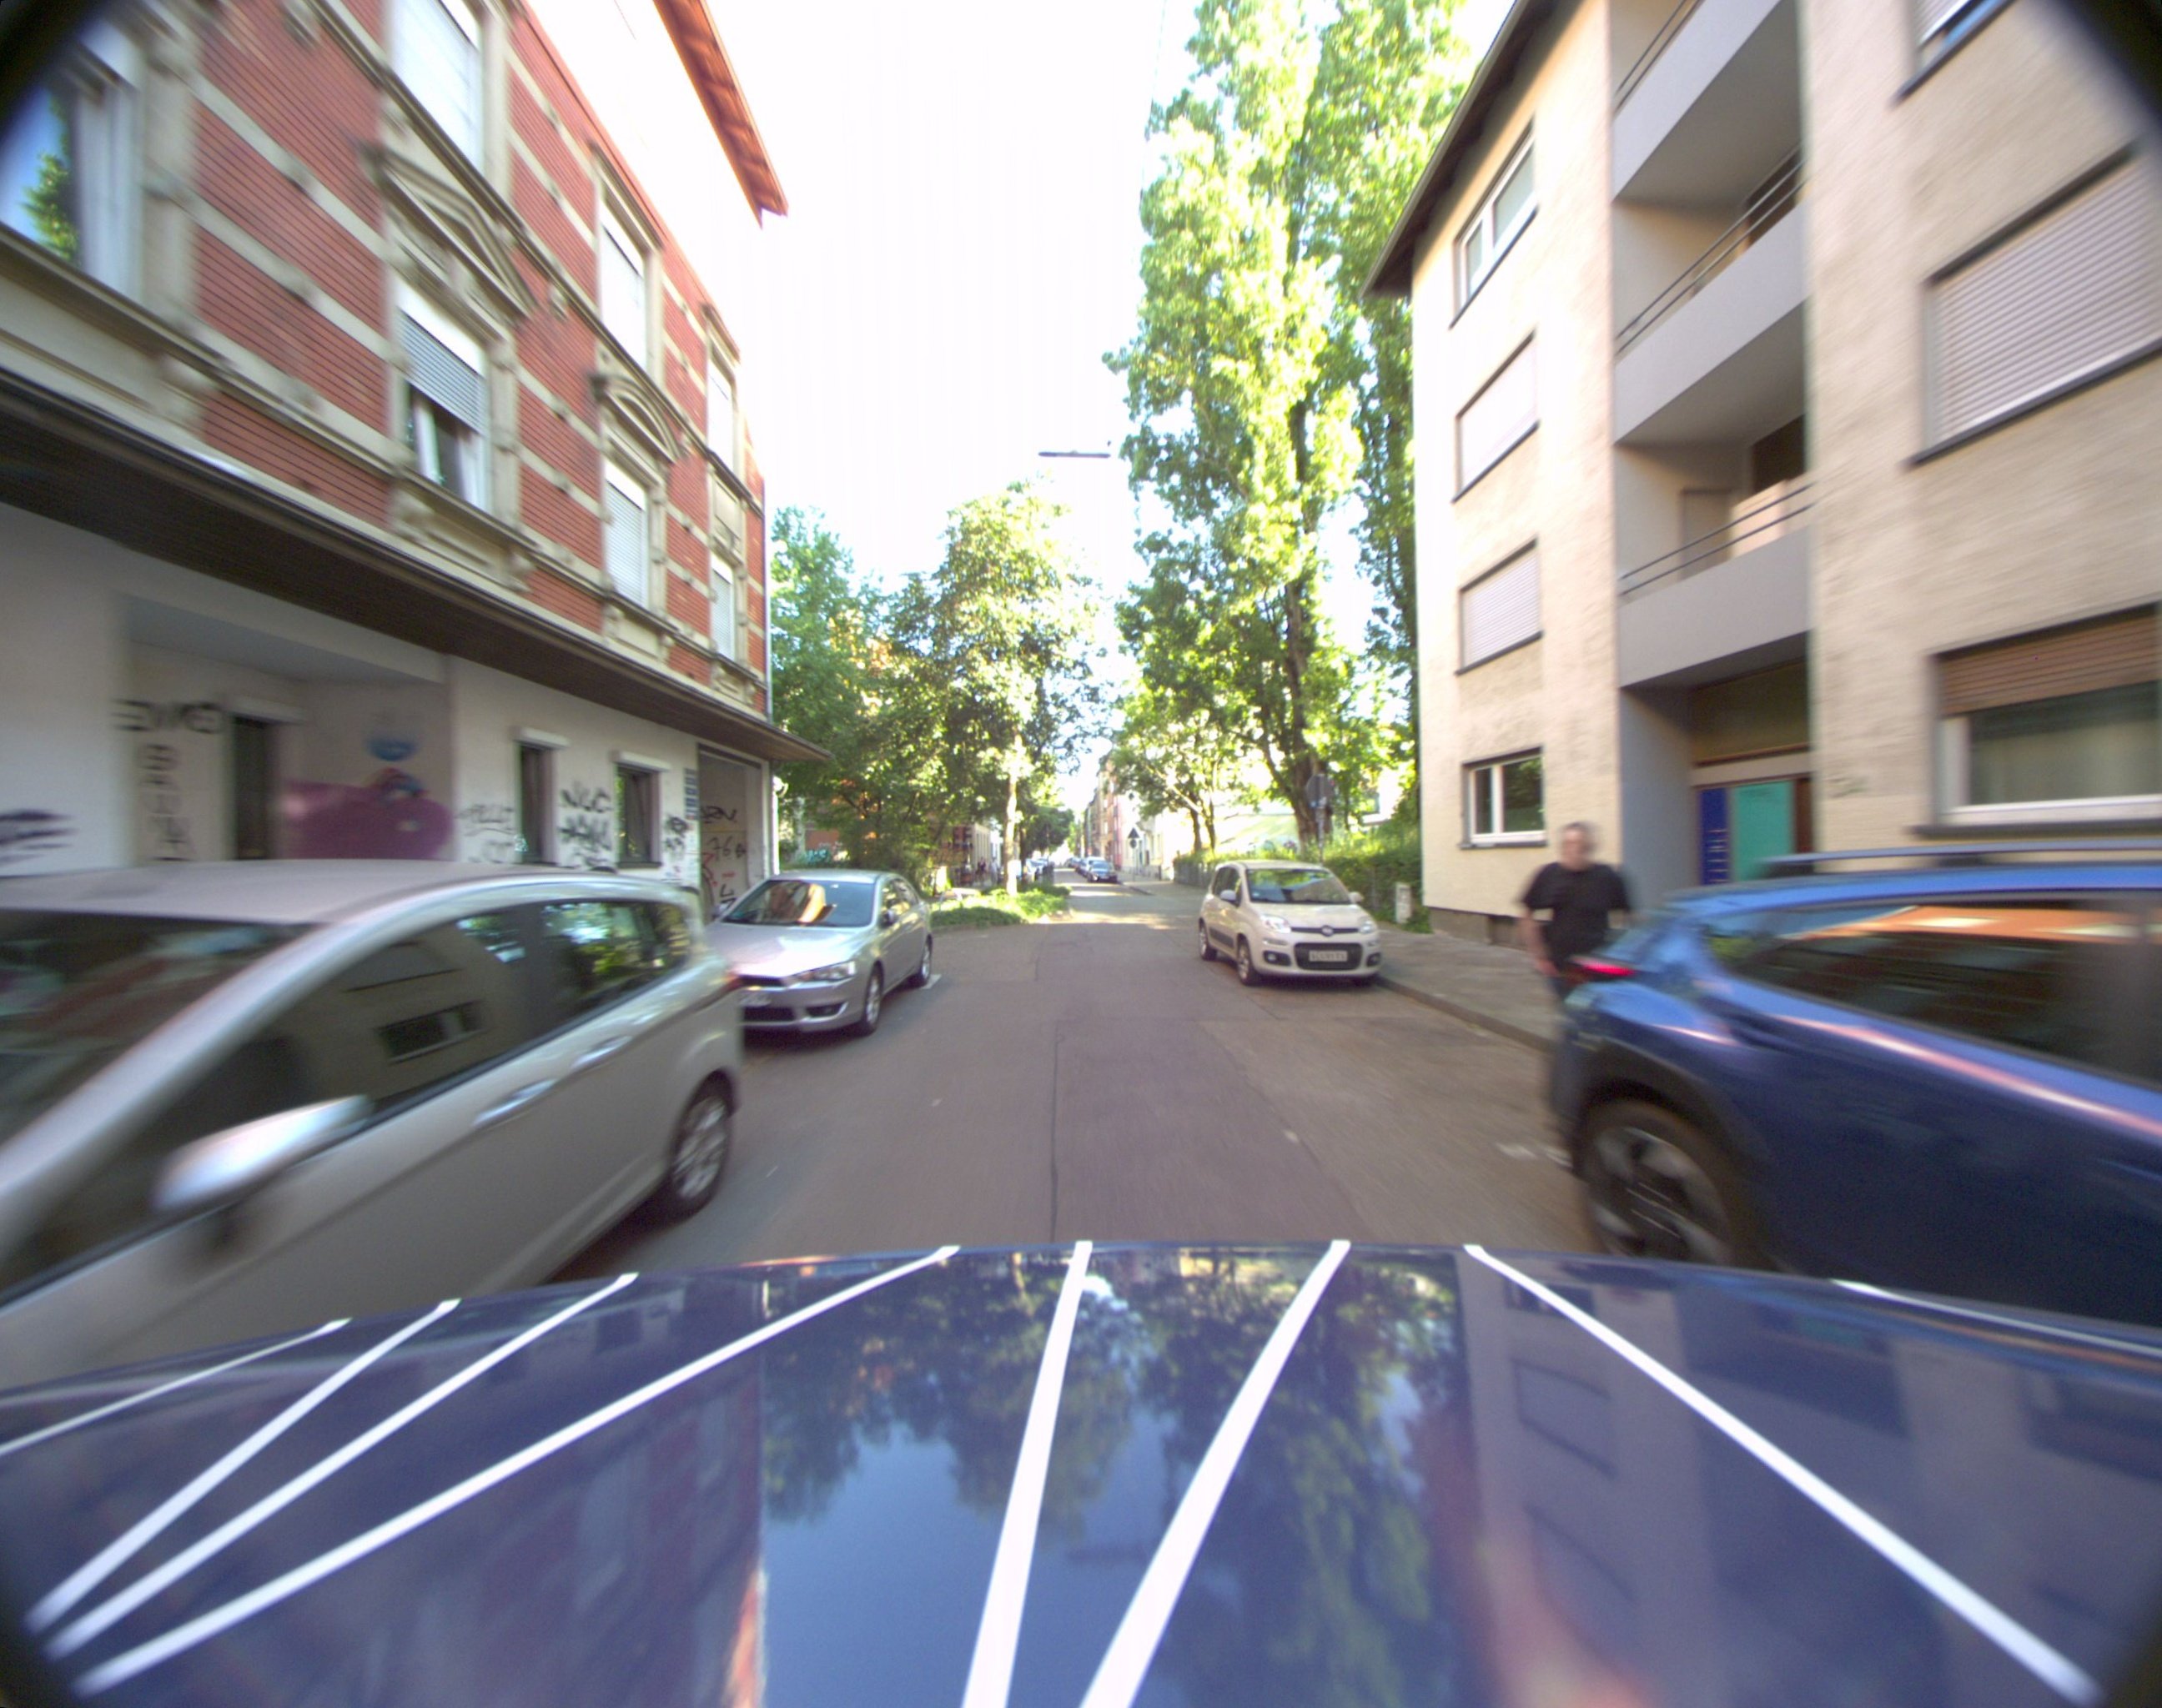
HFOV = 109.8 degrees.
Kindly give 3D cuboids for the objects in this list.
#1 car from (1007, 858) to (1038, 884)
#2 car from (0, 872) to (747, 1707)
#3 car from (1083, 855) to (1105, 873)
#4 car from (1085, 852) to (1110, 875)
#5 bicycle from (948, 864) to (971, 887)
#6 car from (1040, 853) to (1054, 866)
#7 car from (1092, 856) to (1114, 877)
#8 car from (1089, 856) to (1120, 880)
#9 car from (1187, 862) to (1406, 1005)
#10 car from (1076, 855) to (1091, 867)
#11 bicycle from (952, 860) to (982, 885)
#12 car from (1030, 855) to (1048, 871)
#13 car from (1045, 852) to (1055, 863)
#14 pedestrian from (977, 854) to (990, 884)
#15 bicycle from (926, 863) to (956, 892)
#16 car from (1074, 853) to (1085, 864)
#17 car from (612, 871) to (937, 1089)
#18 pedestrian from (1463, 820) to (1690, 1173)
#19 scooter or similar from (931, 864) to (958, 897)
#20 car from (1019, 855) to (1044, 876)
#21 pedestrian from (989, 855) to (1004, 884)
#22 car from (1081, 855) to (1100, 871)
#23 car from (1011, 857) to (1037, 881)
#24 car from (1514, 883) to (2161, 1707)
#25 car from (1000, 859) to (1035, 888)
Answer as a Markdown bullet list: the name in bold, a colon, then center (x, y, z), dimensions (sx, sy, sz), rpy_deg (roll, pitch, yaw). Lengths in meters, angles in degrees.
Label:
- **car**: center (-3.593, 1.032, 47.302), dimensions (1.663, 1.485, 4.352), rpy_deg (1, 0, -1)
- **car**: center (-2.521, 0.942, 1.907), dimensions (1.644, 1.646, 3.868), rpy_deg (-1, 0, -1)
- **car**: center (1.205, 0.914, 69.152), dimensions (1.674, 1.519, 4.086), rpy_deg (2, 0, 4)
- **car**: center (1.389, 0.775, 64.219), dimensions (1.754, 1.731, 4.313), rpy_deg (2, 0, -3)
- **bicycle**: center (-6.424, 1.132, 40.197), dimensions (0.849, 1.193, 1.981), rpy_deg (0, 0, 0)
- **car**: center (-5.428, 0.797, 120.977), dimensions (1.866, 1.970, 4.481), rpy_deg (2, 0, 2)
- **car**: center (1.645, 0.920, 57.757), dimensions (1.597, 1.442, 3.485), rpy_deg (2, 0, 0)
- **car**: center (1.519, 0.904, 50.772), dimensions (1.784, 1.435, 4.391), rpy_deg (2, 0, -2)
- **car**: center (2.666, 0.900, 10.374), dimensions (1.679, 1.531, 3.867), rpy_deg (0, 0, -4)
- **car**: center (0.347, 0.870, 98.747), dimensions (1.769, 1.524, 4.102), rpy_deg (2, 0, -2)
- **bicycle**: center (-6.392, 1.032, 42.841), dimensions (1.294, 1.294, 2.327), rpy_deg (1, 0, 1)
- **car**: center (-4.359, 0.933, 79.679), dimensions (1.769, 1.508, 4.102), rpy_deg (2, 0, -2)
- **car**: center (-6.012, 0.639, 146.221), dimensions (1.769, 2.006, 4.263), rpy_deg (2, 0, -2)
- **pedestrian**: center (-5.636, 0.857, 43.873), dimensions (0.599, 1.699, 0.706), rpy_deg (2, 1, -2)
- **bicycle**: center (-6.382, 1.032, 34.700), dimensions (0.849, 1.260, 2.692), rpy_deg (0, 0, 0)
- **car**: center (-0.245, 0.733, 127.712), dimensions (1.769, 1.846, 3.992), rpy_deg (2, 0, -2)
- **car**: center (-2.756, 1.011, 8.022), dimensions (1.726, 1.553, 4.397), rpy_deg (-1, 0, -2)
- **pedestrian**: center (2.838, 0.738, 4.392), dimensions (0.911, 1.829, 0.672), rpy_deg (0, 1, -19)
- **scooter or similar**: center (-5.521, 1.046, 30.648), dimensions (0.547, 1.254, 1.469), rpy_deg (0, 0, -32)
- **car**: center (-3.993, 0.903, 61.748), dimensions (1.770, 1.657, 4.328), rpy_deg (0, 0, 0)
- **pedestrian**: center (-4.926, 0.899, 44.420), dimensions (0.712, 1.699, 0.752), rpy_deg (2, 1, -2)
- **car**: center (0.932, 0.920, 78.258), dimensions (1.769, 1.463, 3.815), rpy_deg (2, 0, -2)
- **car**: center (-3.944, 0.987, 52.602), dimensions (1.597, 1.576, 3.763), rpy_deg (0, 0, -2)
- **car**: center (2.776, 0.905, 1.013), dimensions (1.734, 1.531, 4.376), rpy_deg (0, 0, -3)
- **car**: center (-3.480, 1.023, 42.244), dimensions (1.725, 1.485, 4.412), rpy_deg (0, 0, -3)
